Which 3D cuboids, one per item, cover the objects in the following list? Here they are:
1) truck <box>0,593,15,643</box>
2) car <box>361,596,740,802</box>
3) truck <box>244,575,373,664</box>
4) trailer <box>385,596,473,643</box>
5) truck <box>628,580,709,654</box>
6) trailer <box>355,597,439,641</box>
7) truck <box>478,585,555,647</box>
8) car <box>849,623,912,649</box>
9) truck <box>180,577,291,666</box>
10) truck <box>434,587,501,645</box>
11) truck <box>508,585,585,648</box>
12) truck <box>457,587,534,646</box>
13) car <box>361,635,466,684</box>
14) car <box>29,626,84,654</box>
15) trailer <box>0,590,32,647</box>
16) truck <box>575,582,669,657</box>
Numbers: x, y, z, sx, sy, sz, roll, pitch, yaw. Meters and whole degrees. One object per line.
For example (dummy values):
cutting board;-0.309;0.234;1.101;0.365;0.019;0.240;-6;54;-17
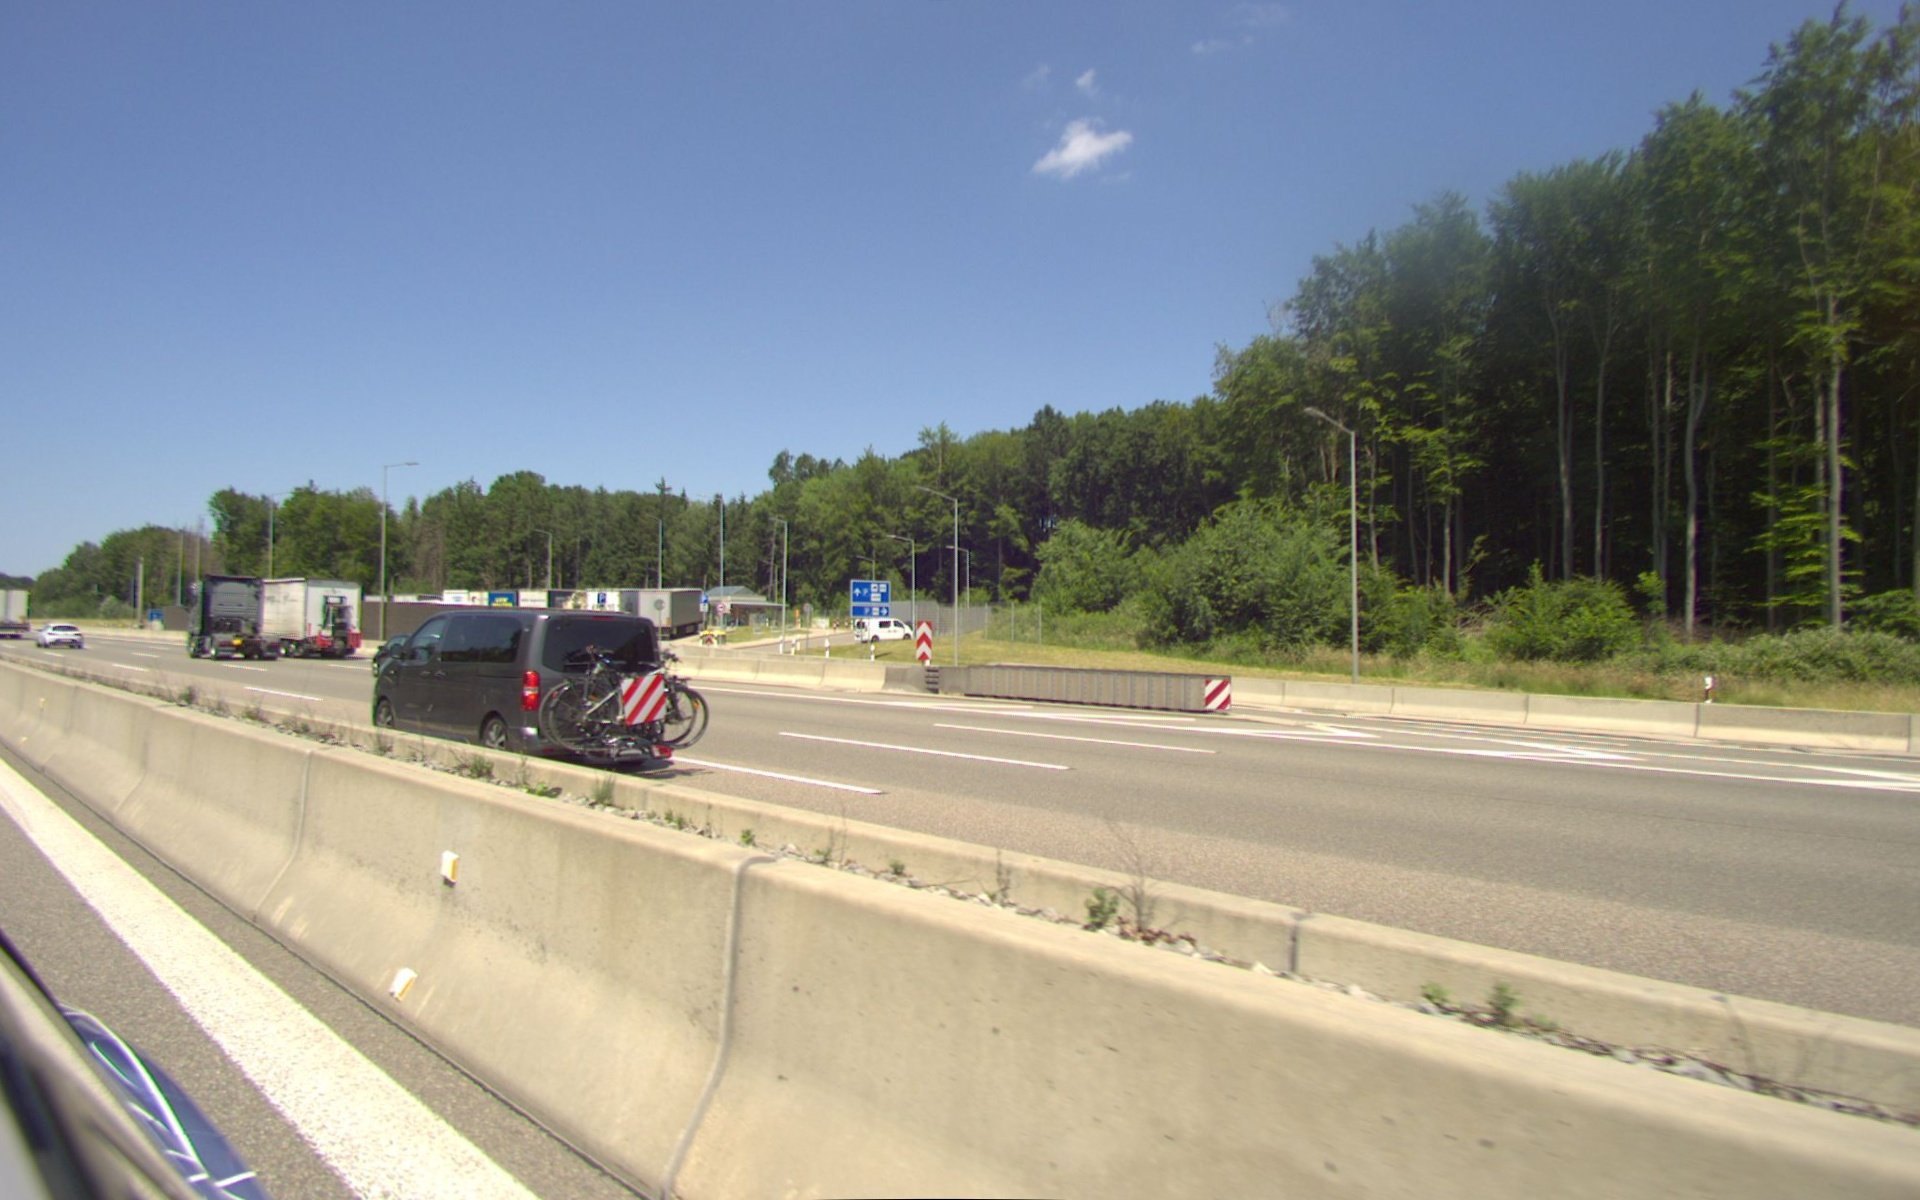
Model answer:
truck;-83.052;1.496;86.012;6.945;4.168;3.015;-1;-4;41
car;-5.181;1.022;12.281;5.654;1.968;1.878;-1;-3;41
truck;-34.335;1.038;53.066;10.591;4.229;2.805;-1;-2;41
trailer;-61.537;2.322;117.904;3.176;5.111;14.576;1;-2;-3
truck;-24.626;1.580;86.741;3.175;5.655;16.724;1;-2;-4
trailer;-69.159;2.437;124.871;3.083;5.111;14.579;1;-2;-4
truck;-42.821;1.671;98.286;3.179;5.655;11.548;1;-2;-4
car;-6.380;2.915;81.833;4.663;2.029;2.091;2;-2;-35
truck;-33.953;1.028;47.343;7.014;3.870;2.551;-1;-3;41
truck;-50.142;1.727;103.362;3.180;5.655;8.496;1;-2;-4
truck;-39.387;1.689;96.965;3.317;5.655;11.548;1;-2;-4
truck;-46.667;1.745;102.256;3.179;5.655;11.548;1;-2;-4
car;-17.998;1.938;33.279;3.812;1.498;1.735;-1;-4;41
car;-52.928;2.330;59.254;4.457;1.518;1.705;-1;-2;40
trailer;-77.866;1.454;81.408;14.460;4.257;2.991;-1;-4;41
truck;-28.086;1.730;85.255;3.399;5.655;16.724;1;-2;-4
